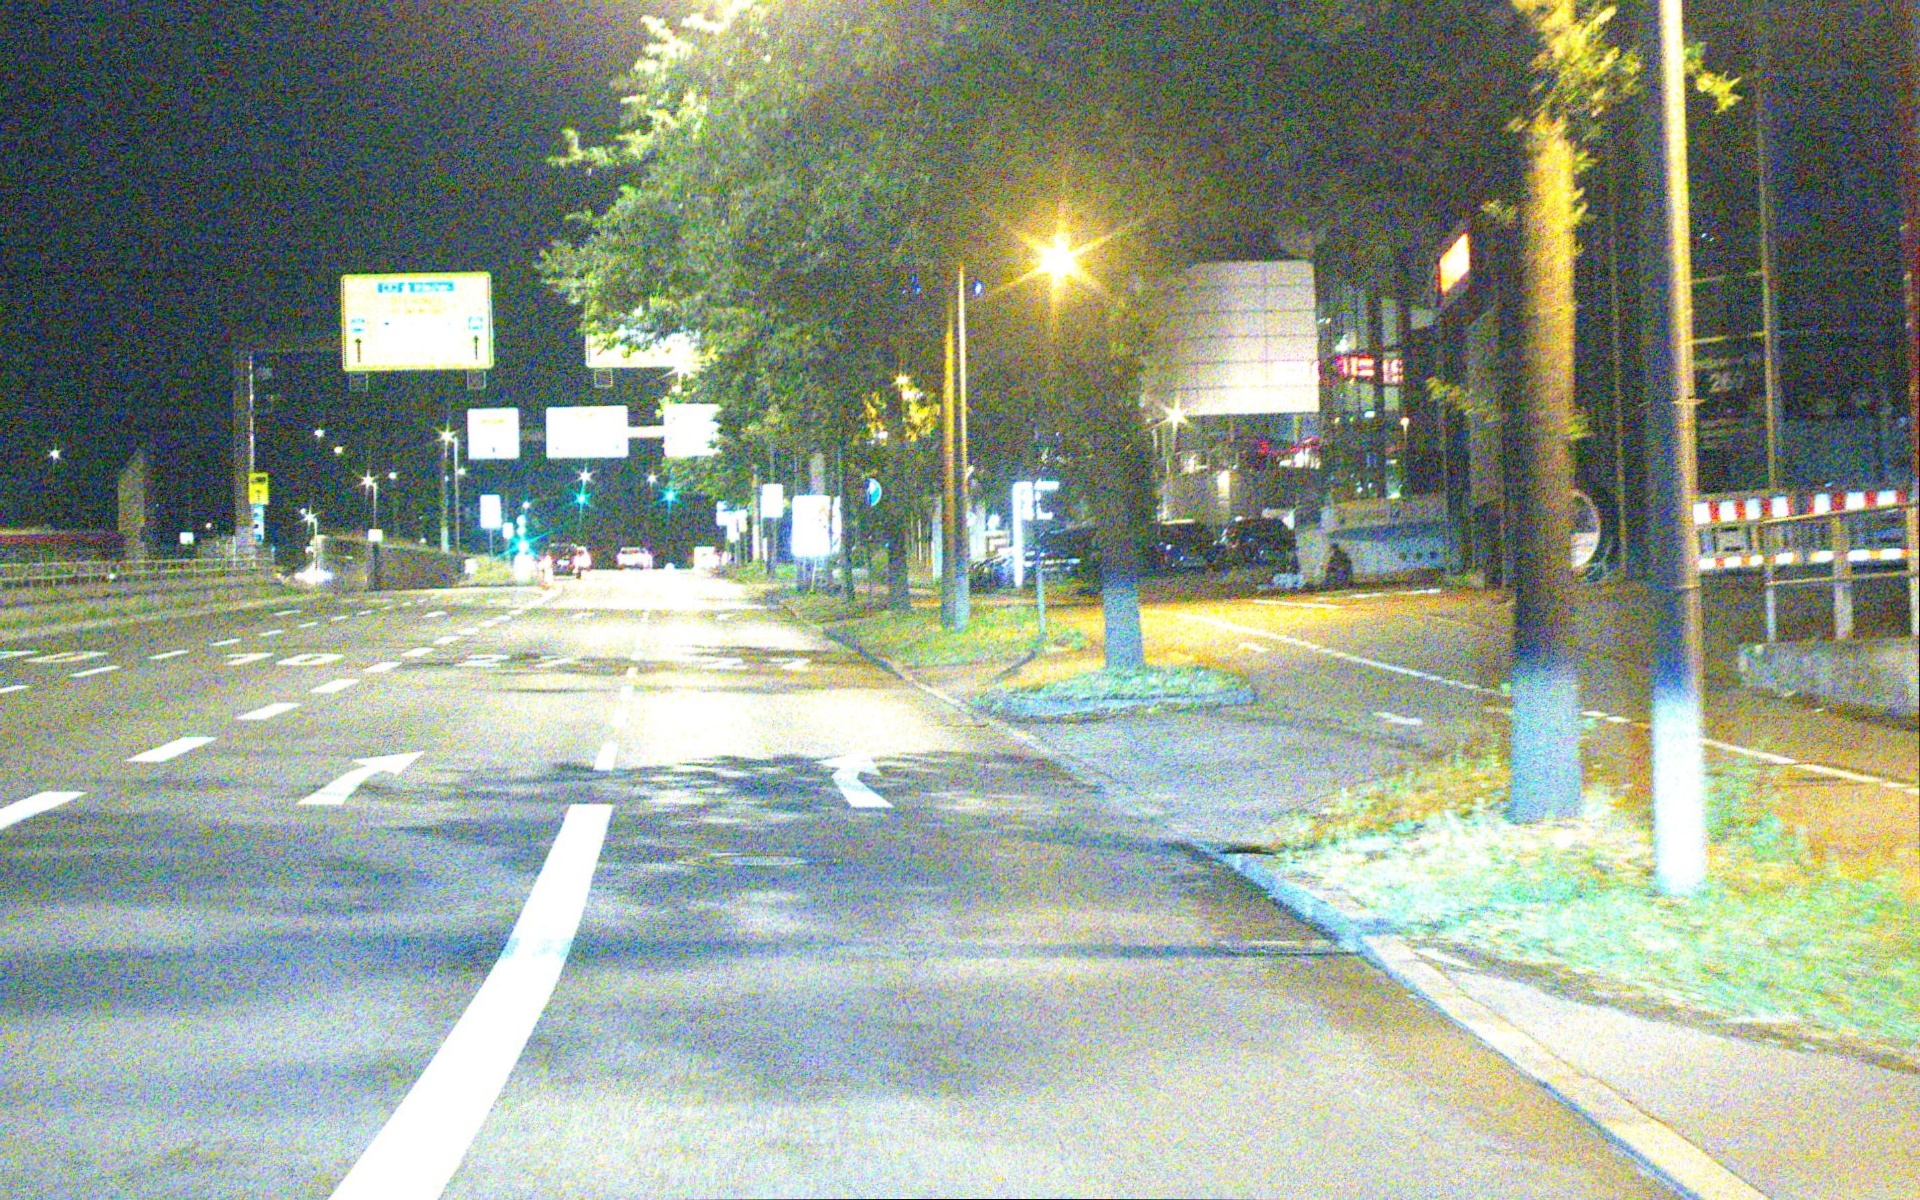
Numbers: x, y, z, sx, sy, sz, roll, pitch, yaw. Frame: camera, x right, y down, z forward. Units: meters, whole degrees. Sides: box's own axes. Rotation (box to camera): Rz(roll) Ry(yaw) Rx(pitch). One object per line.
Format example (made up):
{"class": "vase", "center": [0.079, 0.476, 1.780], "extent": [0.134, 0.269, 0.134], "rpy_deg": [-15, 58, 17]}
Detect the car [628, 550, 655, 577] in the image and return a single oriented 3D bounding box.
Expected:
{"class": "car", "center": [-21.653, -2.460, 233.888], "extent": [1.780, 1.722, 4.000], "rpy_deg": [1, -1, -5]}

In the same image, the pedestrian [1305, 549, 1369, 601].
{"class": "pedestrian", "center": [7.384, -0.485, 67.354], "extent": [0.997, 1.004, 0.772], "rpy_deg": [1, -1, -20]}

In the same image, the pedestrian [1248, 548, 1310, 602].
{"class": "pedestrian", "center": [6.232, -0.485, 67.217], "extent": [0.912, 1.035, 0.770], "rpy_deg": [-1, 0, 39]}

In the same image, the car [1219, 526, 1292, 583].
{"class": "car", "center": [8.385, -1.283, 97.854], "extent": [1.892, 1.506, 3.636], "rpy_deg": [1, -1, 2]}

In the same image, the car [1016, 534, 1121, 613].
{"class": "car", "center": [2.841, -0.671, 89.328], "extent": [1.995, 1.938, 3.997], "rpy_deg": [0, -1, 13]}

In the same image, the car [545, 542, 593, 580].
{"class": "car", "center": [-18.519, -1.842, 162.913], "extent": [1.968, 1.705, 4.000], "rpy_deg": [1, -1, -2]}

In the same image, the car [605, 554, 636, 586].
{"class": "car", "center": [-22.347, -1.987, 226.411], "extent": [1.993, 2.007, 4.000], "rpy_deg": [1, -1, -5]}

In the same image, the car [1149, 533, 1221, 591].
{"class": "car", "center": [6.296, -1.051, 96.426], "extent": [1.892, 1.506, 3.636], "rpy_deg": [1, -1, 2]}

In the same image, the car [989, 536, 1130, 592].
{"class": "car", "center": [2.724, -0.980, 94.541], "extent": [3.623, 1.446, 1.708], "rpy_deg": [1, -1, -8]}

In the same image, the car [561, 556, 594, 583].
{"class": "car", "center": [-24.522, -1.952, 220.558], "extent": [1.993, 1.590, 4.000], "rpy_deg": [-1, -1, -5]}
